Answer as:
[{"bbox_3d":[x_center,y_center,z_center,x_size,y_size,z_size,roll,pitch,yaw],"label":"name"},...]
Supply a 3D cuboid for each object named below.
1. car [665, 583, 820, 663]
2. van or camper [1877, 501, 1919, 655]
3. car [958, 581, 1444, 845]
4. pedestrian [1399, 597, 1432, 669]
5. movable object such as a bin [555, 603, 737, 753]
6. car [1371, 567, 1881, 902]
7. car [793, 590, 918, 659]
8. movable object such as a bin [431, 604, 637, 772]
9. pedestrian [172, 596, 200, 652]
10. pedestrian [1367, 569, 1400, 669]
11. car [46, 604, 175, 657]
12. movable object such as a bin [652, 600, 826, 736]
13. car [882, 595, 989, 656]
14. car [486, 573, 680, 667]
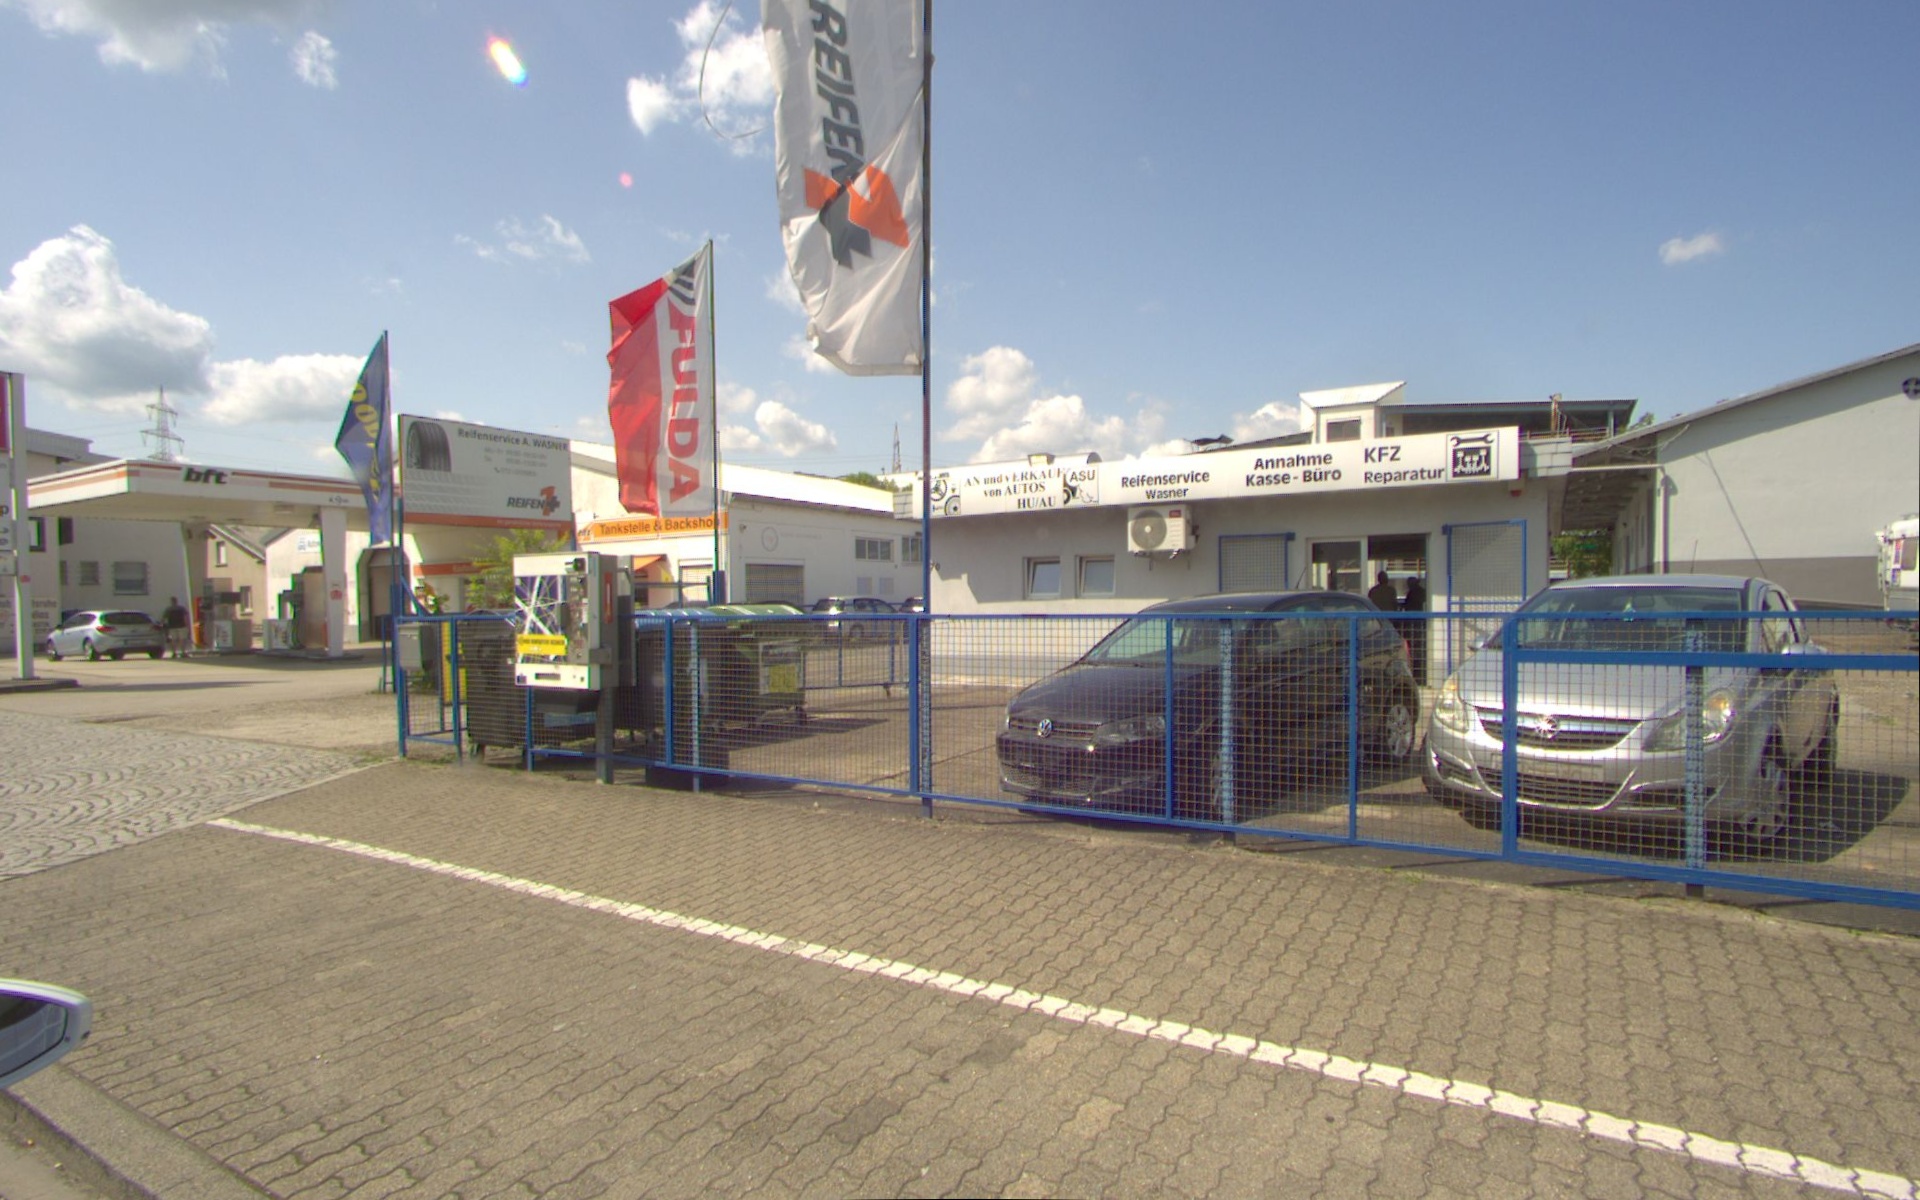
[{"bbox_3d":[-5.903,0.572,27.609,1.971,2.040,3.979,0,0,32],"label":"car"},{"bbox_3d":[21.348,-0.457,19.323,4.983,3.002,2.276,0,1,31],"label":"van or camper"},{"bbox_3d":[2.015,0.628,7.650,3.962,1.499,1.705,-1,1,-43],"label":"car"},{"bbox_3d":[7.980,0.563,17.527,0.480,1.229,0.499,0,1,30],"label":"pedestrian"},{"bbox_3d":[-3.371,0.776,10.786,1.434,1.473,1.224,0,1,31],"label":"movable object such as a bin"},{"bbox_3d":[4.503,0.588,6.513,4.104,1.499,1.787,-1,0,-42],"label":"car"},{"bbox_3d":[-3.264,0.729,31.989,1.971,2.040,3.979,0,0,32],"label":"car"},{"bbox_3d":[-4.131,0.785,9.747,1.434,1.473,1.224,0,1,31],"label":"movable object such as a bin"},{"bbox_3d":[-23.739,0.730,30.717,0.628,1.705,0.618,-1,1,-36],"label":"pedestrian"},{"bbox_3d":[7.438,0.326,17.577,0.480,1.710,0.499,0,1,30],"label":"pedestrian"},{"bbox_3d":[-25.833,0.891,30.435,3.950,1.499,1.829,-1,1,31],"label":"car"},{"bbox_3d":[-2.605,0.744,11.901,1.433,1.473,1.427,0,1,31],"label":"movable object such as a bin"},{"bbox_3d":[-0.804,0.865,35.878,1.971,2.040,3.979,0,0,32],"label":"car"},{"bbox_3d":[-8.913,0.437,23.983,1.971,2.040,3.979,0,0,32],"label":"car"}]
